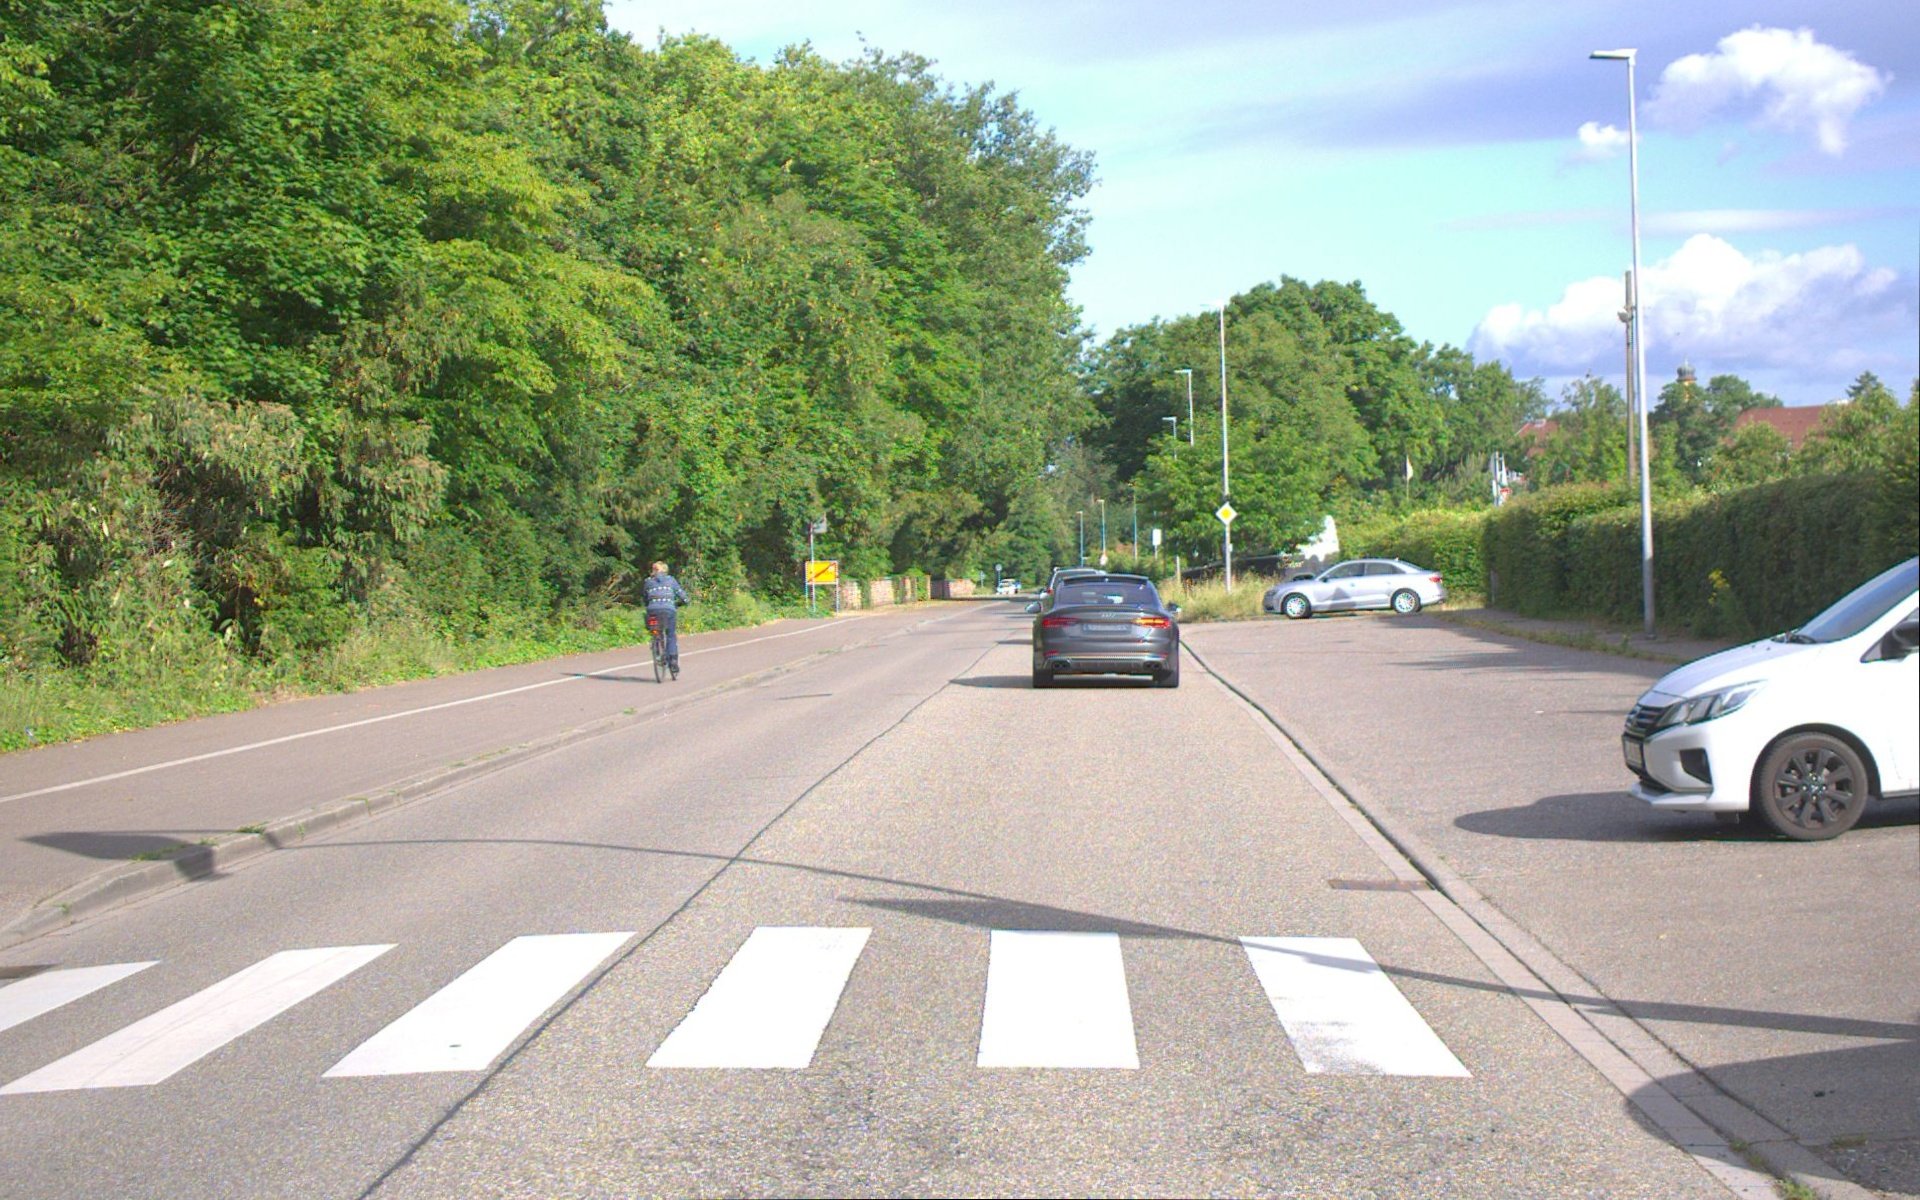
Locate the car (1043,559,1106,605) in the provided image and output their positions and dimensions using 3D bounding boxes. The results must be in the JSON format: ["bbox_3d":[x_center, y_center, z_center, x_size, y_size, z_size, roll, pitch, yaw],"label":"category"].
[{"bbox_3d":[3.589,-0.563,108.290,1.886,1.367,4.054,-2,0,2],"label":"car"}]

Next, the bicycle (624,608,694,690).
[{"bbox_3d":[-4.231,0.680,48.471,0.662,1.093,2.348,0,1,3],"label":"bicycle"}]

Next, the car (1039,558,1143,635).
[{"bbox_3d":[2.477,-0.090,65.633,1.886,1.367,4.054,-2,0,2],"label":"car"}]

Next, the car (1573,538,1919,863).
[{"bbox_3d":[5.430,0.423,18.519,3.857,1.485,1.692,-5,2,1],"label":"car"}]

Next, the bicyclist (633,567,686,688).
[{"bbox_3d":[-4.230,0.377,48.392,0.608,1.671,0.883,0,1,3],"label":"bicyclist"}]

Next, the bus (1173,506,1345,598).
[{"bbox_3d":[9.826,-1.581,113.288,5.365,2.737,2.068,-3,1,0],"label":"bus"}]

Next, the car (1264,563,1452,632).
[{"bbox_3d":[9.647,-0.068,83.146,4.363,1.438,1.932,-3,0,9],"label":"car"}]

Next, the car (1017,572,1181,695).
[{"bbox_3d":[1.818,0.391,43.651,1.966,1.429,4.335,-1,1,4],"label":"car"}]
